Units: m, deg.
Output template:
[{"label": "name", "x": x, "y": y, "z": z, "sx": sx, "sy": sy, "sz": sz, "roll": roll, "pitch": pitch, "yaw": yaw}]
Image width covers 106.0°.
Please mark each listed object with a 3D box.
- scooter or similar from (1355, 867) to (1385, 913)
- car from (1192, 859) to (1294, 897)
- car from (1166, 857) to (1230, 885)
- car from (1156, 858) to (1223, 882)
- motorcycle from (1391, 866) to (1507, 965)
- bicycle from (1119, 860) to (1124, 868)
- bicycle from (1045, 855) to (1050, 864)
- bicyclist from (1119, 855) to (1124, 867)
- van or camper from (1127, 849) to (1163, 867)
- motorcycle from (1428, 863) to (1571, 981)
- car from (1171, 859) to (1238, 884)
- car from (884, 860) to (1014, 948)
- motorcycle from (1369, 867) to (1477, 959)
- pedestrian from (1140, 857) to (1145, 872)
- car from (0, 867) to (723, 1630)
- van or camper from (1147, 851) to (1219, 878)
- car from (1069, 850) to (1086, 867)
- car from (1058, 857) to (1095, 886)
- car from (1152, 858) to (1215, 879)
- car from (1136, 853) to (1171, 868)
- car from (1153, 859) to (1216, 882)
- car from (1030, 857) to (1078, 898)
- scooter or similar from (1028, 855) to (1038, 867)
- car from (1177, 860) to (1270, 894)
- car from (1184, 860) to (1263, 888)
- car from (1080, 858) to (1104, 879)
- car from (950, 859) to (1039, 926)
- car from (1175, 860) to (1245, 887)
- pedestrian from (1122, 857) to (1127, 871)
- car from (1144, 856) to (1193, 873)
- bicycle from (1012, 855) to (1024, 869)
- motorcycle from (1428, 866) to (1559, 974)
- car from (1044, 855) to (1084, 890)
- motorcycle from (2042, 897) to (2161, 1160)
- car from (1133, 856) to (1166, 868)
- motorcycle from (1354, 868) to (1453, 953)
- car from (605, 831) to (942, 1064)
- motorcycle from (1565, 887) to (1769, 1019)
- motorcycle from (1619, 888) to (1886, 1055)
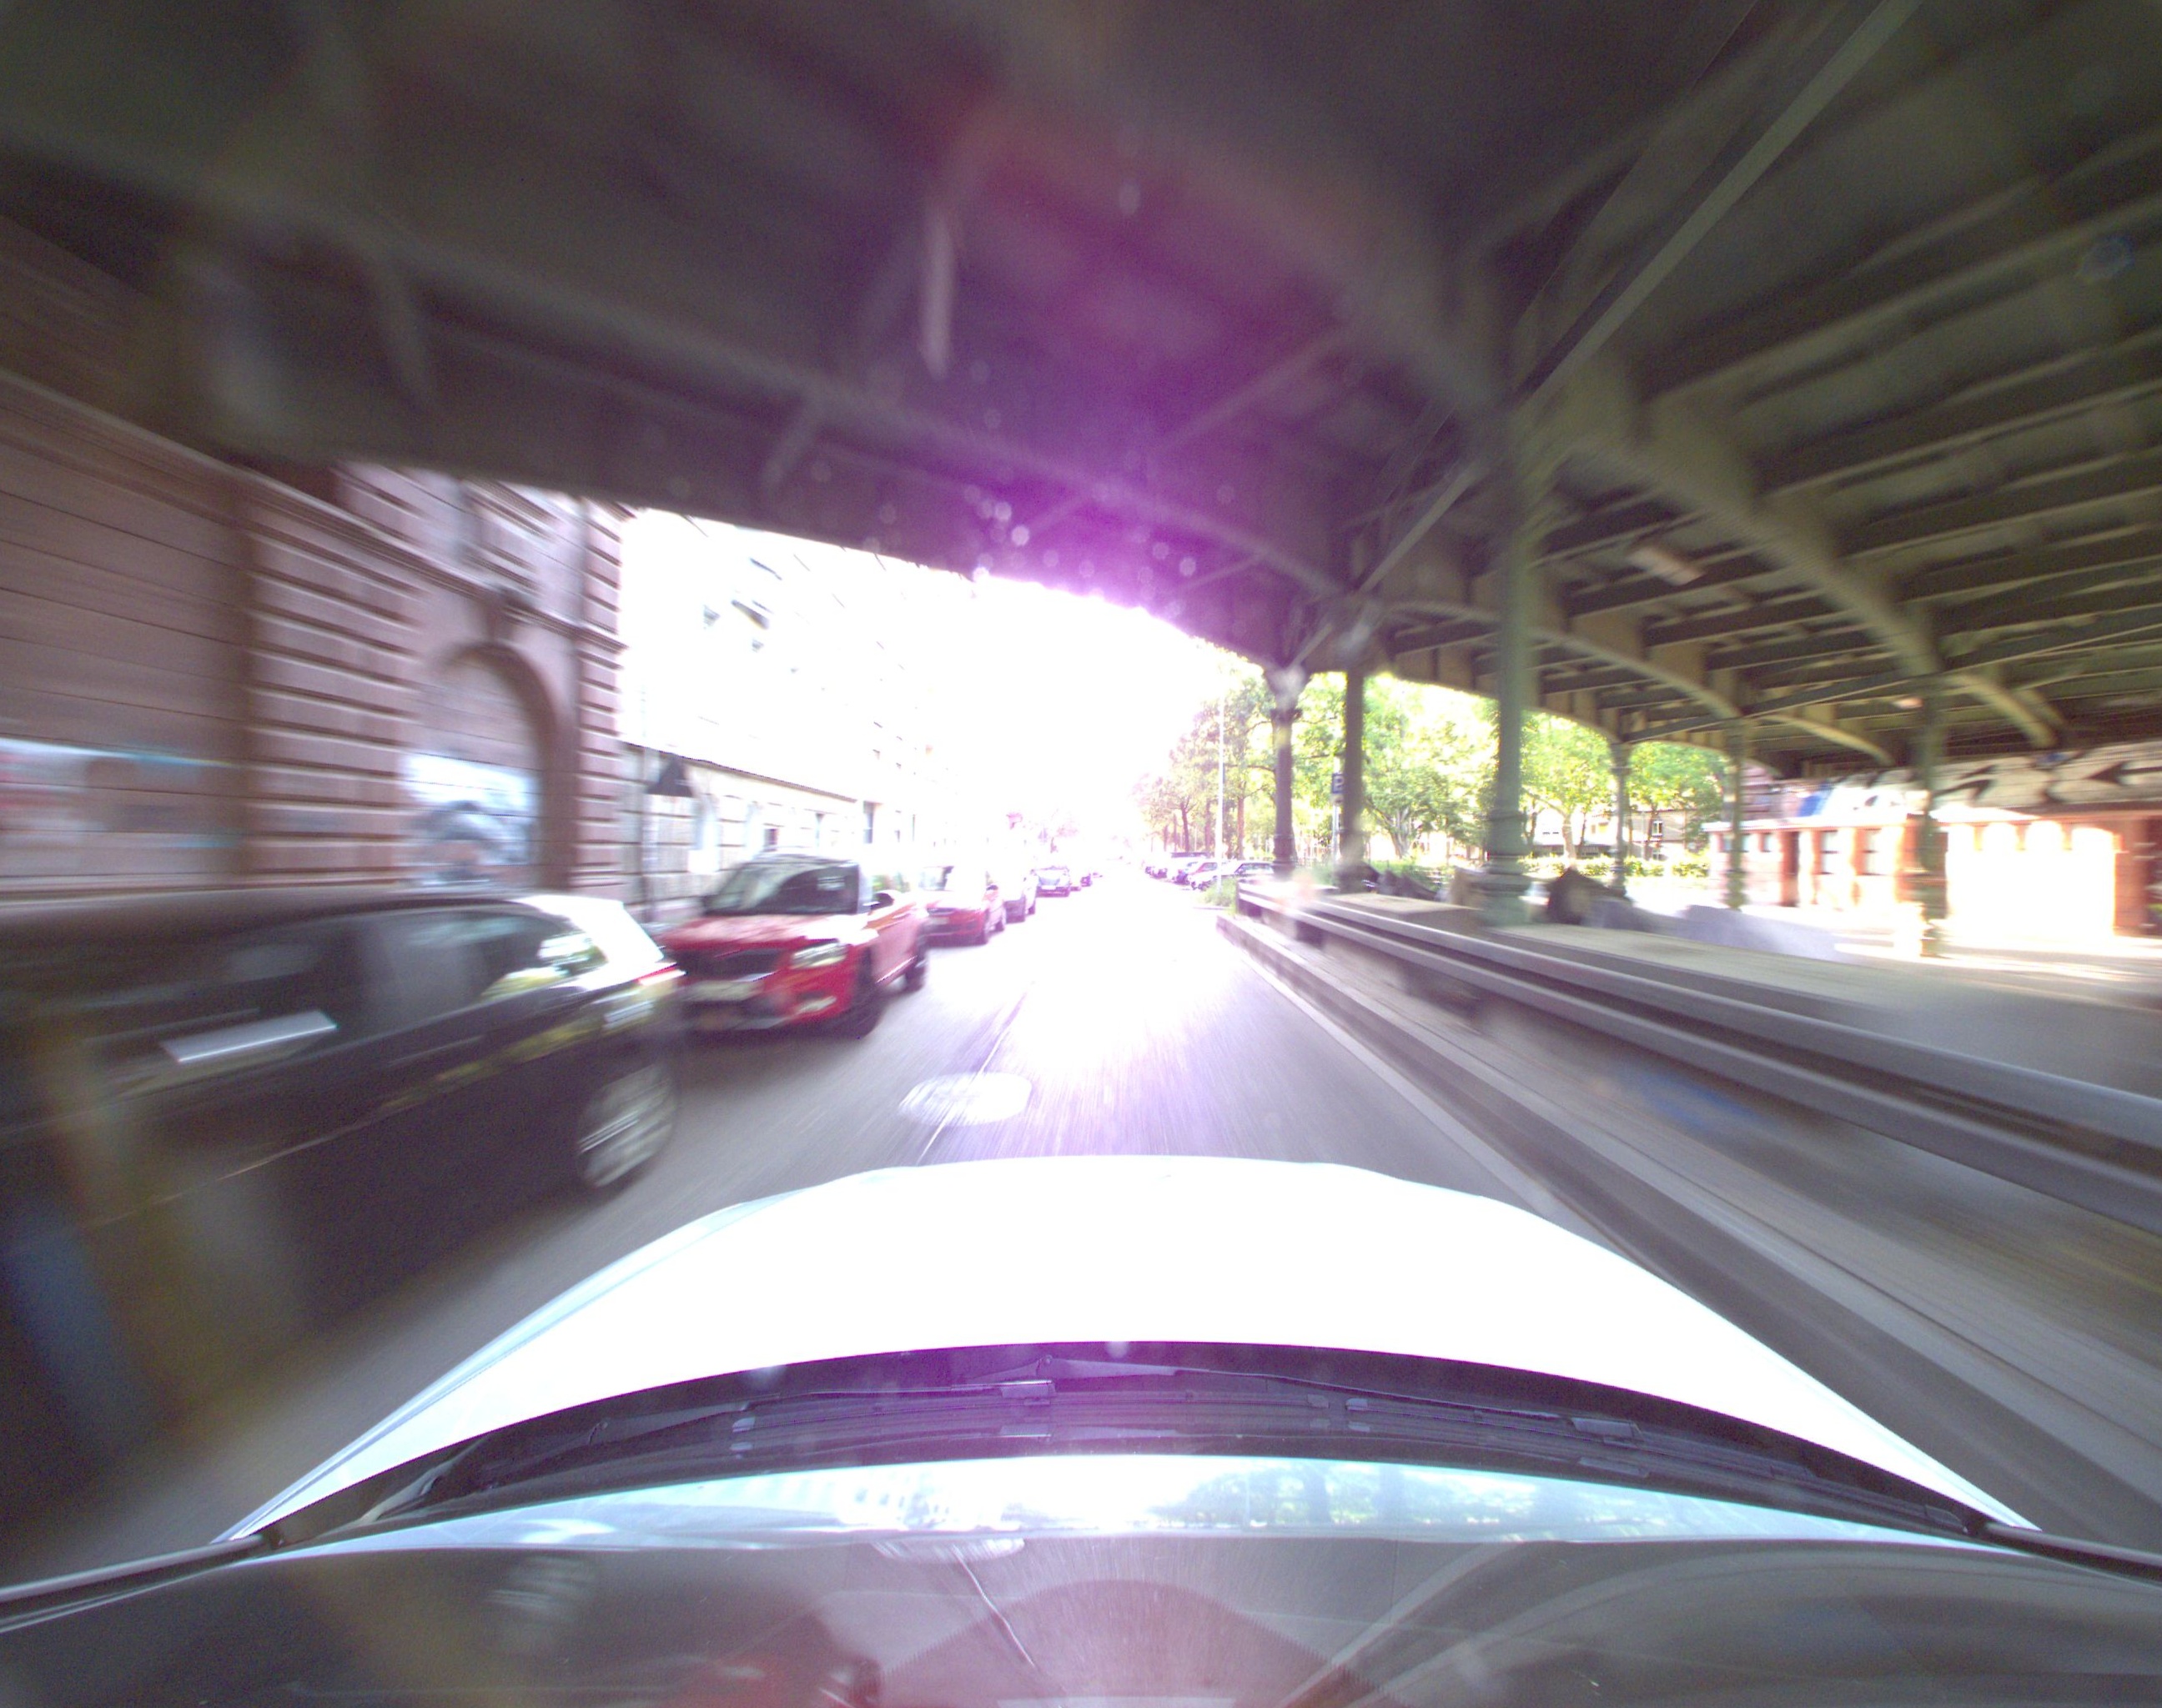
[{"label": "scooter or similar", "x": 8.478, "y": 1.044, "z": 23.909, "sx": 0.475, "sy": 1.298, "sz": 1.327, "roll": 2, "pitch": -2, "yaw": 5}, {"label": "car", "x": 6.452, "y": 0.947, "z": 32.752, "sx": 3.773, "sy": 1.472, "sz": 1.633, "roll": 0, "pitch": -2, "yaw": -3}, {"label": "car", "x": 7.173, "y": 1.058, "z": 50.214, "sx": 3.767, "sy": 1.646, "sz": 1.665, "roll": 0, "pitch": -2, "yaw": 2}, {"label": "car", "x": 7.306, "y": 1.079, "z": 54.941, "sx": 4.376, "sy": 1.577, "sz": 1.667, "roll": 0, "pitch": -2, "yaw": 6}, {"label": "motorcycle", "x": 5.692, "y": 0.929, "z": 12.681, "sx": 1.586, "sy": 1.408, "sz": 0.716, "roll": 1, "pitch": -2, "yaw": 21}, {"label": "bicycle", "x": 5.512, "y": 1.340, "z": 110.741, "sx": 0.639, "sy": 1.100, "sz": 1.943, "roll": 2, "pitch": -2, "yaw": 0}, {"label": "bicycle", "x": -4.637, "y": 0.780, "z": 112.611, "sx": 0.703, "sy": 1.147, "sz": 1.888, "roll": 2, "pitch": -2, "yaw": -1}, {"label": "bicyclist", "x": 5.545, "y": 0.919, "z": 110.726, "sx": 0.625, "sy": 1.573, "sz": 0.802, "roll": 2, "pitch": -1, "yaw": 0}, {"label": "van or camper", "x": 9.227, "y": 0.599, "z": 117.407, "sx": 4.966, "sy": 2.377, "sz": 2.184, "roll": 2, "pitch": -2, "yaw": -1}, {"label": "motorcycle", "x": 5.435, "y": 0.861, "z": 10.674, "sx": 1.586, "sy": 1.408, "sz": 0.716, "roll": 1, "pitch": -2, "yaw": 21}, {"label": "car", "x": 7.178, "y": 1.025, "z": 47.580, "sx": 3.765, "sy": 1.474, "sz": 1.666, "roll": 0, "pitch": -2, "yaw": 3}, {"label": "car", "x": -2.386, "y": 0.856, "z": 15.681, "sx": 1.683, "sy": 1.441, "sz": 4.002, "roll": 1, "pitch": -1, "yaw": 2}, {"label": "motorcycle", "x": 5.663, "y": 0.953, "z": 13.551, "sx": 1.586, "sy": 1.408, "sz": 0.716, "roll": 1, "pitch": -2, "yaw": 21}, {"label": "pedestrian", "x": 6.610, "y": 1.102, "z": 86.952, "sx": 0.377, "sy": 1.516, "sz": 0.522, "roll": 1, "pitch": 2, "yaw": 21}, {"label": "car", "x": -2.920, "y": 0.786, "z": 2.516, "sx": 1.710, "sy": 1.464, "sz": 4.002, "roll": 0, "pitch": -1, "yaw": 2}, {"label": "van or camper", "x": 7.805, "y": 0.780, "z": 62.890, "sx": 5.390, "sy": 2.027, "sz": 2.031, "roll": 0, "pitch": 0, "yaw": 3}, {"label": "car", "x": -0.440, "y": 0.625, "z": 102.959, "sx": 1.987, "sy": 1.921, "sz": 5.039, "roll": 2, "pitch": -2, "yaw": 0}, {"label": "car", "x": -0.195, "y": 0.877, "z": 42.613, "sx": 1.732, "sy": 1.479, "sz": 4.003, "roll": 0, "pitch": 0, "yaw": 3}, {"label": "car", "x": 7.529, "y": 1.102, "z": 60.112, "sx": 4.387, "sy": 1.501, "sz": 1.836, "roll": 0, "pitch": -2, "yaw": -2}, {"label": "car", "x": 8.962, "y": 0.797, "z": 100.419, "sx": 4.203, "sy": 1.864, "sz": 1.763, "roll": -1, "pitch": 0, "yaw": 2}, {"label": "car", "x": 7.314, "y": 1.179, "z": 57.760, "sx": 4.380, "sy": 1.577, "sz": 1.666, "roll": 0, "pitch": -2, "yaw": 3}, {"label": "car", "x": -1.038, "y": 0.899, "z": 32.534, "sx": 1.560, "sy": 1.517, "sz": 3.785, "roll": 1, "pitch": 0, "yaw": 3}, {"label": "scooter or similar", "x": -5.281, "y": 0.827, "z": 89.528, "sx": 0.780, "sy": 1.222, "sz": 2.704, "roll": 2, "pitch": -2, "yaw": 2}, {"label": "car", "x": 6.064, "y": 0.972, "z": 34.992, "sx": 3.767, "sy": 1.401, "sz": 1.828, "roll": 0, "pitch": -2, "yaw": 2}, {"label": "car", "x": 7.378, "y": 1.044, "z": 42.362, "sx": 3.772, "sy": 1.401, "sz": 1.765, "roll": 0, "pitch": -2, "yaw": -3}, {"label": "car", "x": 0.849, "y": 1.073, "z": 61.038, "sx": 1.662, "sy": 1.430, "sz": 4.003, "roll": -1, "pitch": 1, "yaw": 2}, {"label": "car", "x": -2.080, "y": 0.893, "z": 20.601, "sx": 1.630, "sy": 1.466, "sz": 4.002, "roll": -2, "pitch": 0, "yaw": 2}, {"label": "car", "x": 7.066, "y": 1.092, "z": 44.824, "sx": 3.762, "sy": 1.447, "sz": 1.667, "roll": 0, "pitch": -2, "yaw": 6}, {"label": "pedestrian", "x": 4.834, "y": 1.089, "z": 90.475, "sx": 0.377, "sy": 1.584, "sz": 0.522, "roll": 1, "pitch": 2, "yaw": 21}, {"label": "car", "x": 8.030, "y": 0.957, "z": 75.256, "sx": 4.384, "sy": 1.591, "sz": 1.838, "roll": 0, "pitch": -1, "yaw": 0}, {"label": "bicycle", "x": -5.518, "y": 0.695, "z": 71.505, "sx": 0.734, "sy": 1.206, "sz": 2.516, "roll": 2, "pitch": 1, "yaw": 3}, {"label": "motorcycle", "x": 5.817, "y": 0.902, "z": 11.578, "sx": 1.586, "sy": 1.408, "sz": 0.716, "roll": 1, "pitch": -2, "yaw": 21}, {"label": "car", "x": -0.747, "y": 0.831, "z": 37.752, "sx": 1.696, "sy": 1.525, "sz": 3.774, "roll": 1, "pitch": 0, "yaw": 1}, {"label": "motorcycle", "x": 5.458, "y": 0.809, "z": 4.025, "sx": 1.732, "sy": 1.132, "sz": 0.705, "roll": 3, "pitch": -2, "yaw": -33}, {"label": "car", "x": 8.782, "y": 1.000, "z": 104.873, "sx": 4.199, "sy": 1.453, "sz": 1.651, "roll": -1, "pitch": 0, "yaw": 5}, {"label": "motorcycle", "x": 5.751, "y": 0.985, "z": 14.562, "sx": 1.586, "sy": 1.408, "sz": 0.716, "roll": 1, "pitch": -2, "yaw": 21}, {"label": "car", "x": -2.624, "y": 0.706, "z": 8.143, "sx": 1.711, "sy": 1.708, "sz": 4.321, "roll": 0, "pitch": -1, "yaw": 0}, {"label": "motorcycle", "x": 5.497, "y": 0.915, "z": 7.657, "sx": 1.603, "sy": 1.132, "sz": 0.709, "roll": 3, "pitch": -2, "yaw": -15}, {"label": "motorcycle", "x": 5.256, "y": 0.869, "z": 6.380, "sx": 1.838, "sy": 1.132, "sz": 0.844, "roll": 3, "pitch": -2, "yaw": -22}]
